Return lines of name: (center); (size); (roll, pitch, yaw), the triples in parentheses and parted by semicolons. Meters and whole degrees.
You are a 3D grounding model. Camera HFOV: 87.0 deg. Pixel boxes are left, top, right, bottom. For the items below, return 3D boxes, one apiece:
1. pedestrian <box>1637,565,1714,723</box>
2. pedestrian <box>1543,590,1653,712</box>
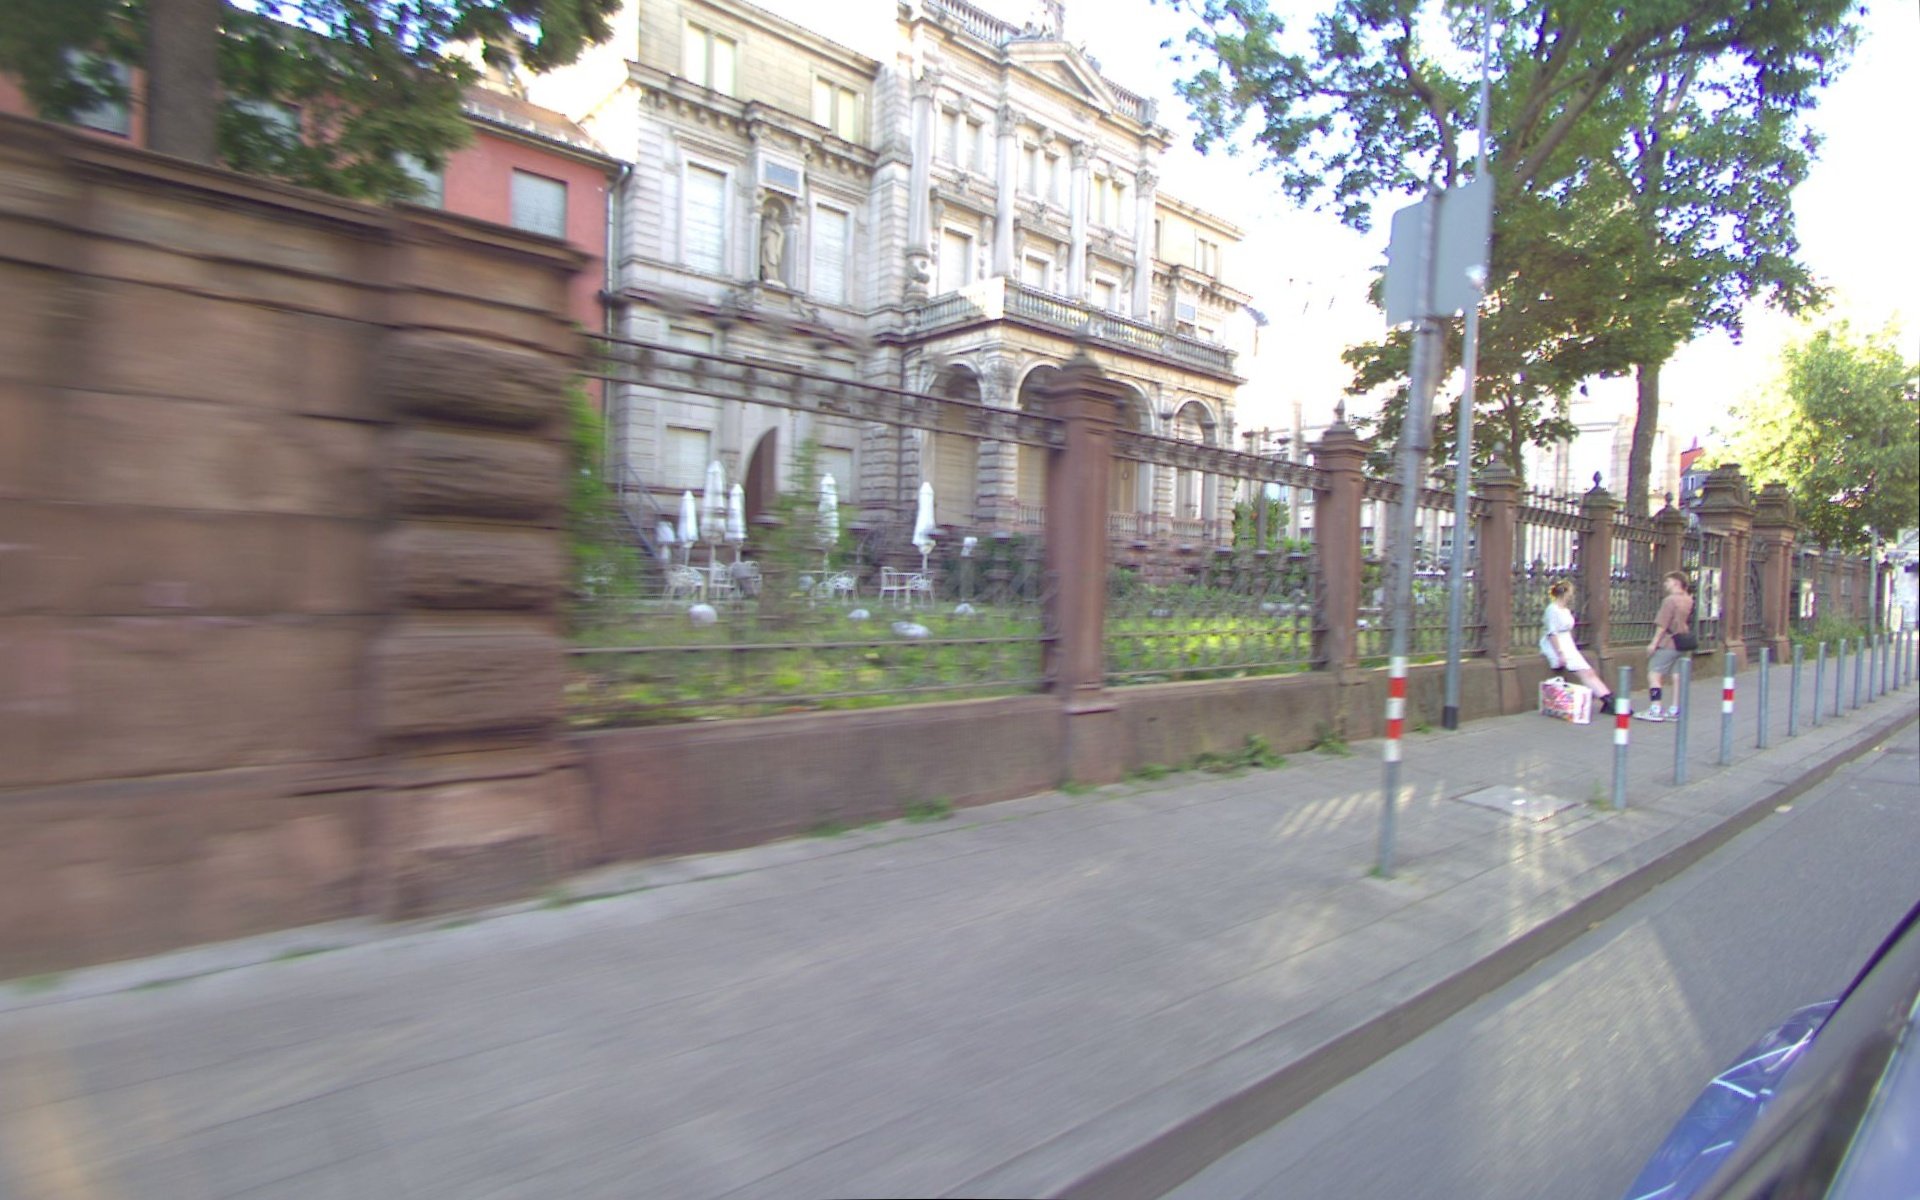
pedestrian: (7.829, 0.465, 11.073); (0.546, 1.666, 0.438); (1, 2, -34)
pedestrian: (7.193, 0.551, 11.430); (0.356, 1.264, 0.927); (1, 3, -43)
